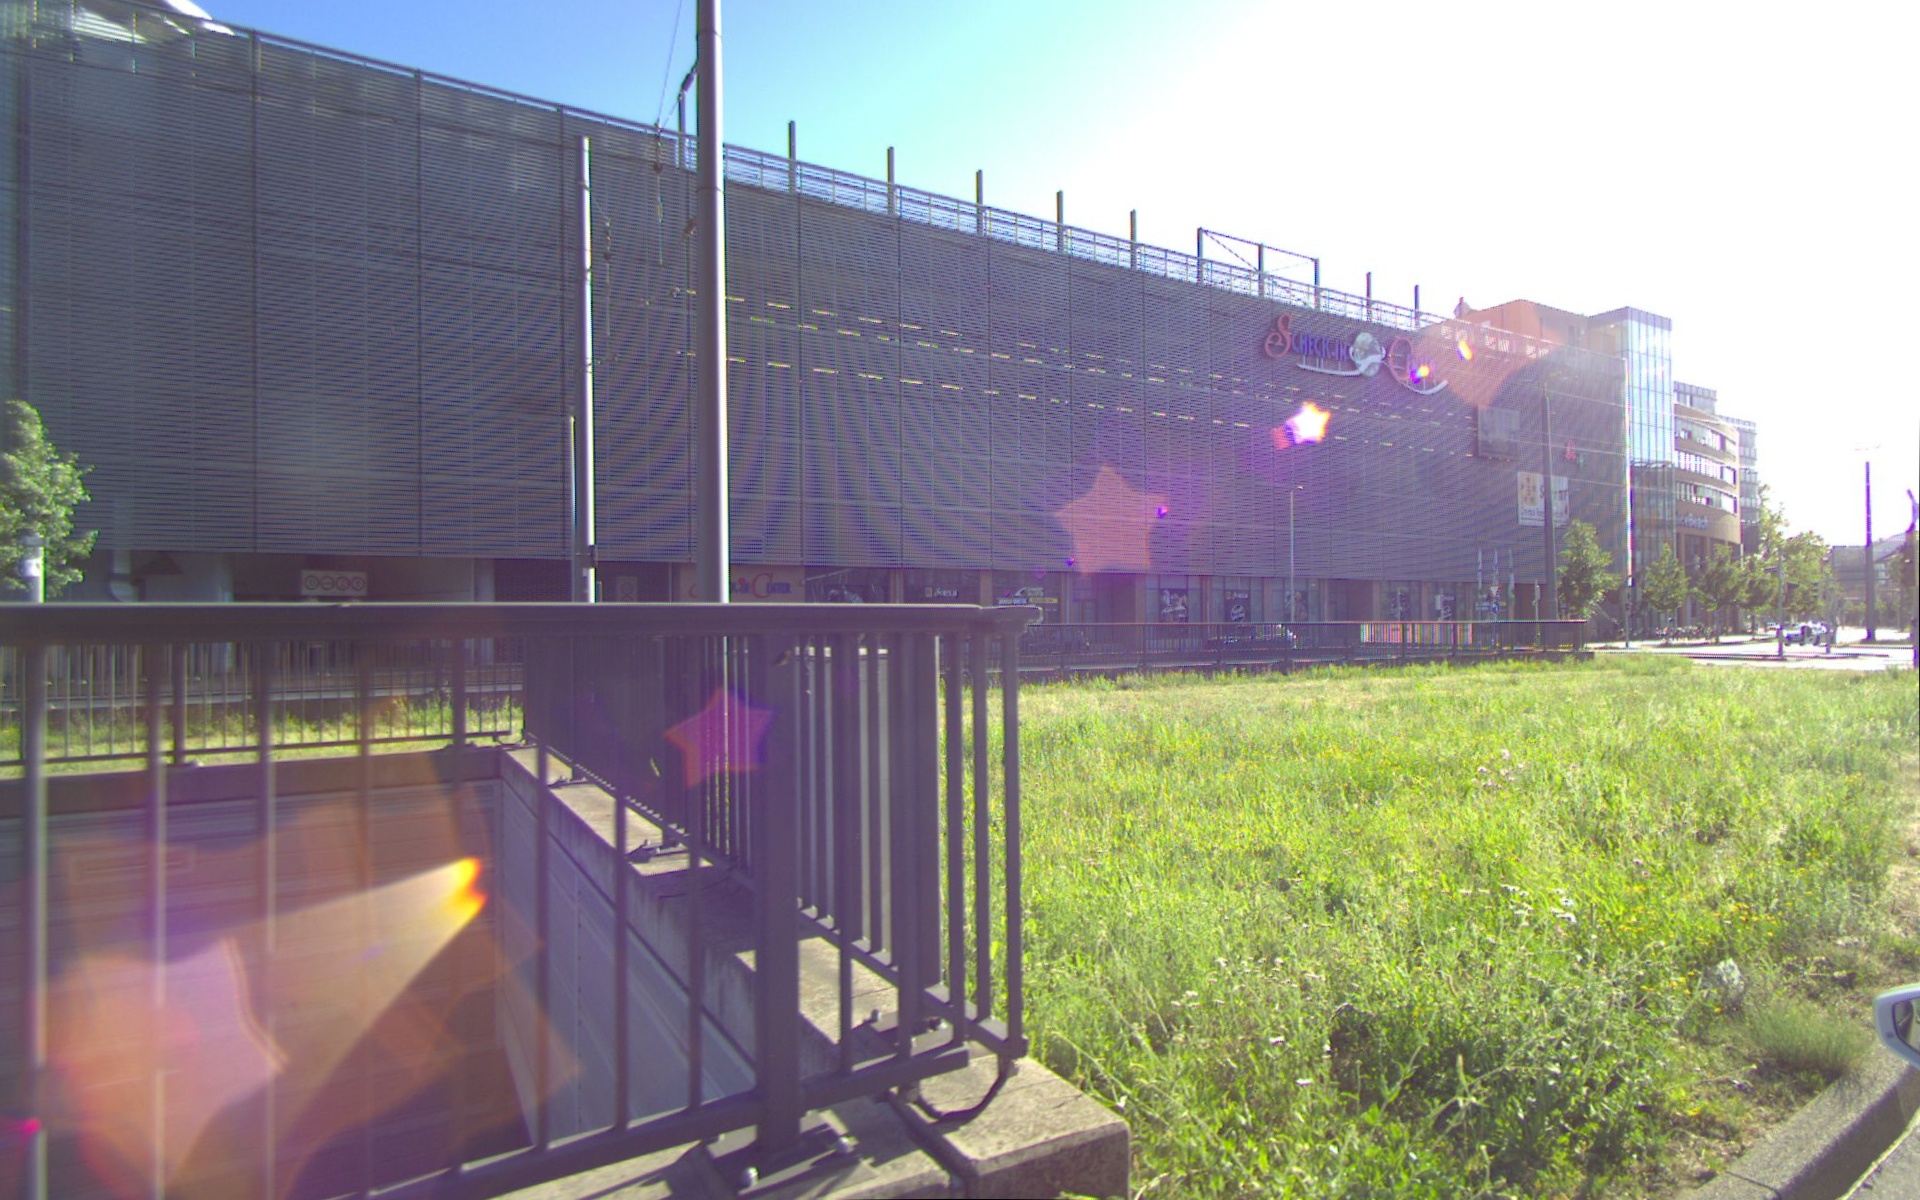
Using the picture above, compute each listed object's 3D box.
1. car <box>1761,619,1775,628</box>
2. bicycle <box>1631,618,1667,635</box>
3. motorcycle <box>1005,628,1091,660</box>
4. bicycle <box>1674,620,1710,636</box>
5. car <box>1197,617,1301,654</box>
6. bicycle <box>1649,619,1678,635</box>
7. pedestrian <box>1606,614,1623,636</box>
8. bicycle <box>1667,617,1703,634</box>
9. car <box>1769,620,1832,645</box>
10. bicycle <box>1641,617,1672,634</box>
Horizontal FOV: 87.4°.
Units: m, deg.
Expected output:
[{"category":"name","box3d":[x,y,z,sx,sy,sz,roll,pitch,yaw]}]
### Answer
[{"category":"car","box3d":[150.408,4.344,186.984,1.627,1.609,3.350,-1,-1,33]},{"category":"bicycle","box3d":[60.893,2.326,88.803,1.060,1.452,2.367,1,-2,-21]},{"category":"motorcycle","box3d":[4.479,2.221,51.128,3.953,1.472,1.984,0,-1,-30]},{"category":"bicycle","box3d":[67.807,2.642,93.069,0.891,1.452,2.558,1,-2,-21]},{"category":"car","box3d":[12.607,1.525,43.768,4.192,1.520,1.985,0,-1,-30]},{"category":"bicycle","box3d":[62.852,2.410,89.714,0.795,1.452,1.975,1,-2,-21]},{"category":"pedestrian","box3d":[53.632,2.058,82.348,0.894,1.848,0.823,1,-3,-29]},{"category":"bicycle","box3d":[66.085,2.347,91.592,0.891,1.452,2.558,1,-2,-21]},{"category":"car","box3d":[55.880,2.128,66.738,4.481,1.566,1.982,0,-1,-33]},{"category":"bicycle","box3d":[61.813,2.305,89.169,0.848,1.452,2.080,1,-2,-21]}]
